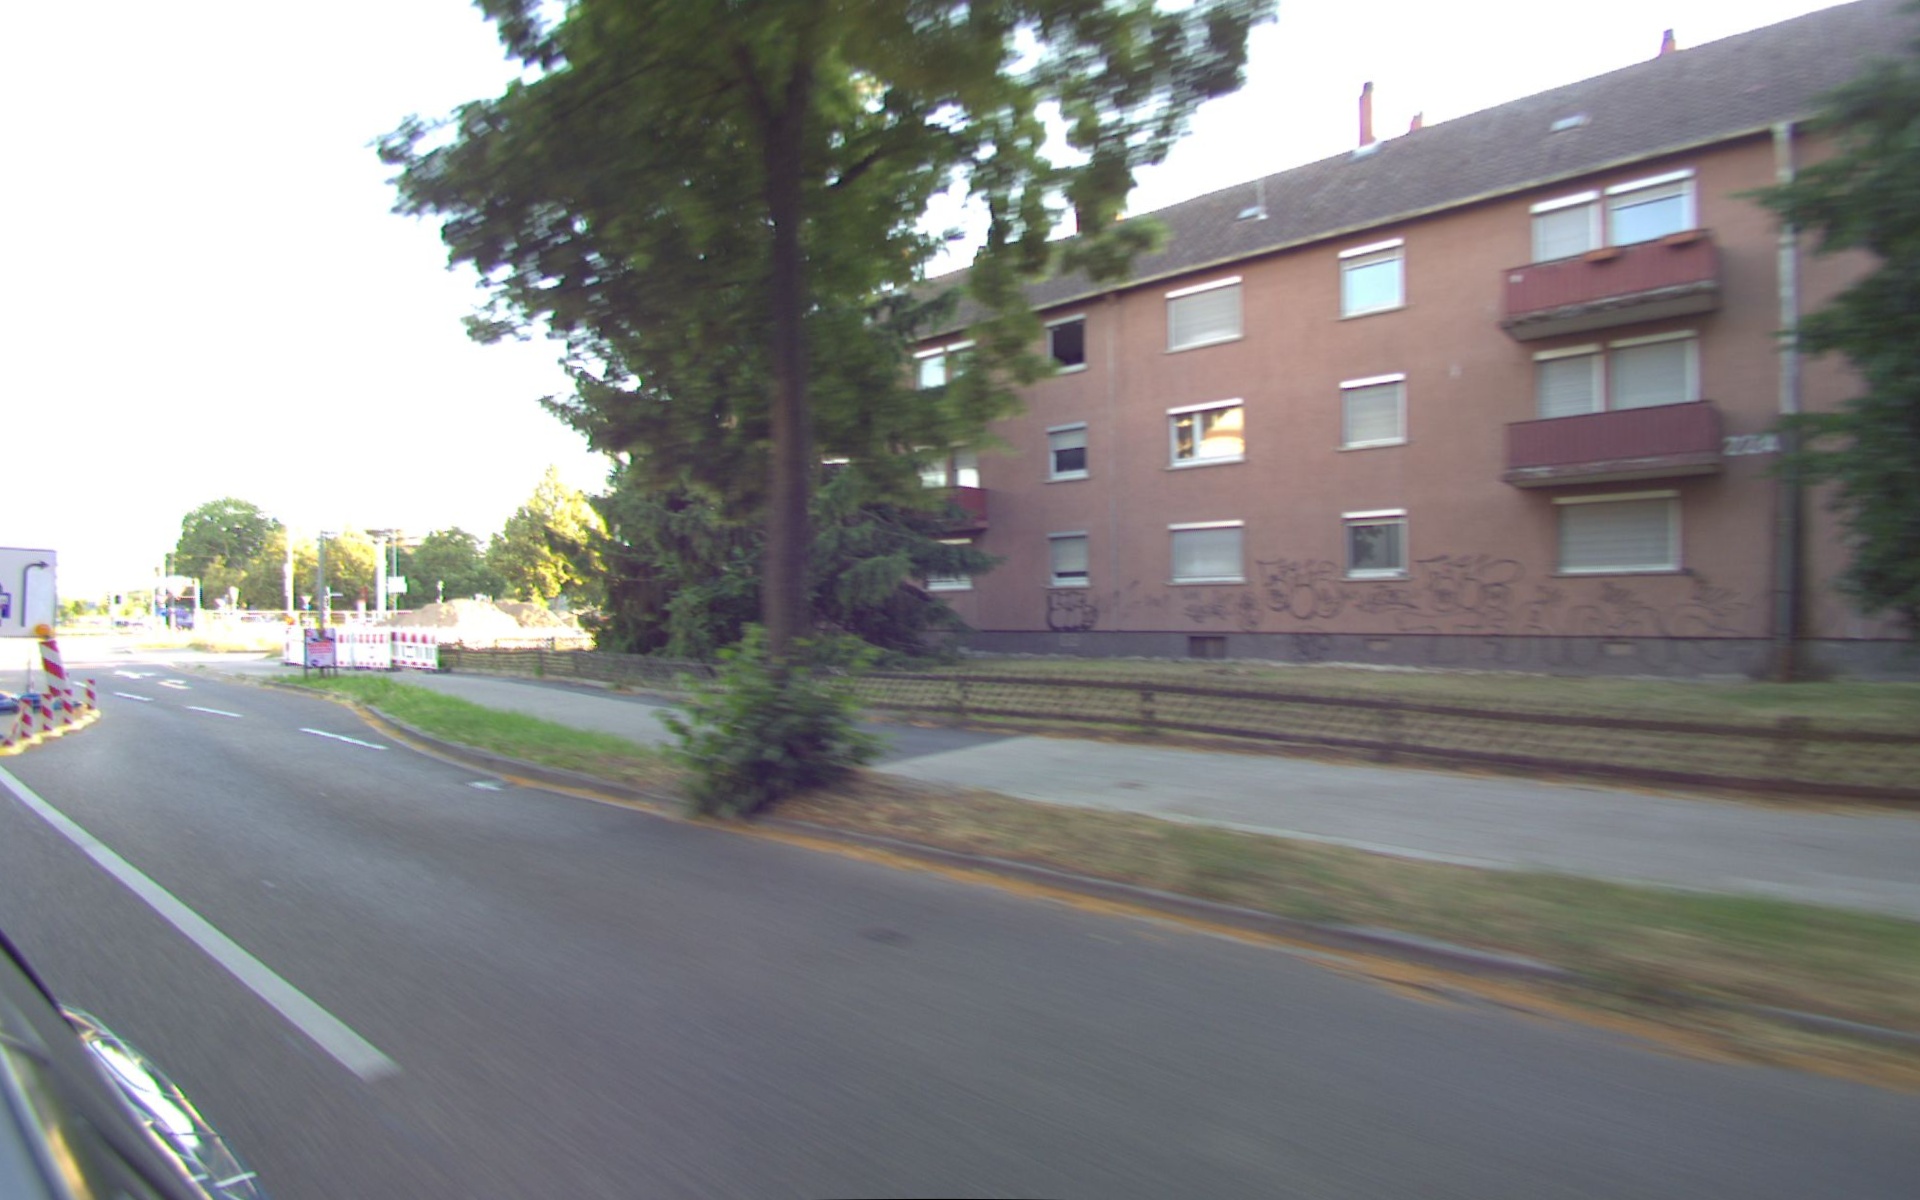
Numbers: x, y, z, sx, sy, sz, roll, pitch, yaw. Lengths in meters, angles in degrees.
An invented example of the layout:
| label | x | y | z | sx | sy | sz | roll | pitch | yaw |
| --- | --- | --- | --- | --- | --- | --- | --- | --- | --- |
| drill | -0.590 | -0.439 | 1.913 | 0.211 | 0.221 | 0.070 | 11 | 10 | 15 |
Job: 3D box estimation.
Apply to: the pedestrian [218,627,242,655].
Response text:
| label | x | y | z | sx | sy | sz | roll | pitch | yaw |
| --- | --- | --- | --- | --- | --- | --- | --- | --- | --- |
| pedestrian | -44.962 | 2.501 | 62.335 | 0.784 | 1.708 | 0.917 | -1 | -2 | 29 |

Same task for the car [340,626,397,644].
| label | x | y | z | sx | sy | sz | roll | pitch | yaw |
| --- | --- | --- | --- | --- | --- | --- | --- | --- | --- |
| car | -50.999 | 2.975 | 87.293 | 1.627 | 1.475 | 3.955 | -1 | -1 | 33 |
